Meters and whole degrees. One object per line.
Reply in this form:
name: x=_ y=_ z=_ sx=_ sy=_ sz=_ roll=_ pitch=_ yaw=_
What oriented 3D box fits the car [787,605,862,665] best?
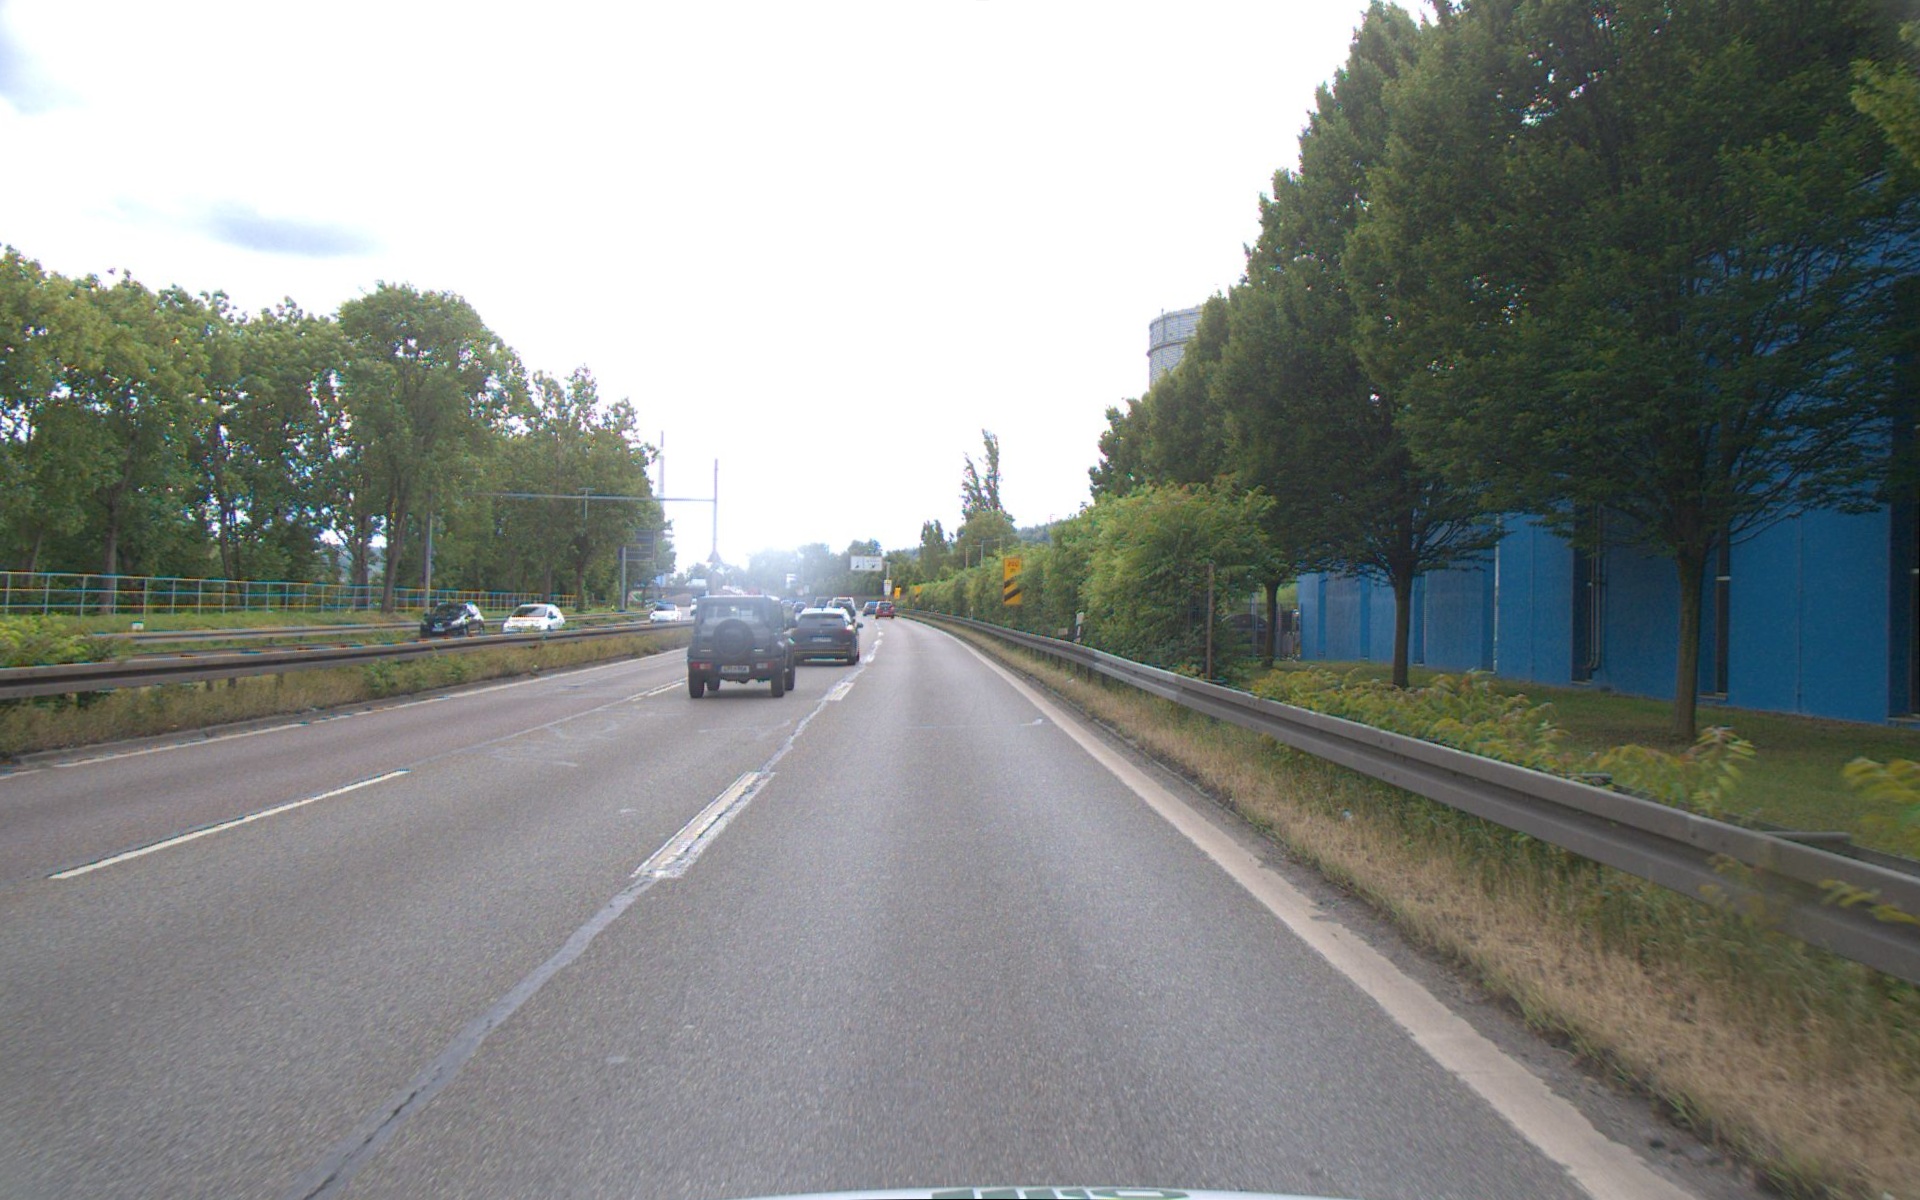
car: x=-3.532 y=0.883 z=43.805 sx=1.808 sy=1.448 sz=4.897 roll=1 pitch=0 yaw=-3

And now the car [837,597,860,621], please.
car: x=-8.437 y=0.706 z=125.370 sx=1.663 sy=1.772 sz=3.998 roll=1 pitch=0 yaw=-2

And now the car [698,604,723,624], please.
car: x=-22.027 y=1.235 z=146.100 sx=1.691 sy=1.806 sz=3.740 roll=0 pitch=0 yaw=-1

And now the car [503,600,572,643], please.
car: x=-17.055 y=0.843 z=66.923 sx=1.663 sy=1.633 sz=4.537 roll=-1 pitch=0 yaw=-1

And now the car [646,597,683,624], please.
car: x=-19.681 y=0.682 z=110.329 sx=1.829 sy=1.704 sz=4.717 roll=0 pitch=0 yaw=-2

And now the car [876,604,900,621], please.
car: x=-6.615 y=1.132 z=151.182 sx=1.936 sy=1.448 sz=4.895 roll=0 pitch=0 yaw=-5

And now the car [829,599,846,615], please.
car: x=-15.343 y=0.864 z=206.831 sx=1.974 sy=1.968 sz=4.895 roll=0 pitch=0 yaw=-5

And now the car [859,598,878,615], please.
car: x=-9.650 y=0.697 z=174.580 sx=1.665 sy=1.772 sz=4.386 roll=0 pitch=0 yaw=-7

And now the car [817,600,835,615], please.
car: x=-18.214 y=1.012 z=224.552 sx=1.976 sy=1.968 sz=4.890 roll=0 pitch=0 yaw=-9

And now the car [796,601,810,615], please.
car: x=-19.930 y=0.980 z=209.916 sx=1.665 sy=1.772 sz=4.386 roll=0 pitch=0 yaw=-7

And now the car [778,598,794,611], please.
car: x=-26.504 y=0.732 z=252.007 sx=1.977 sy=1.968 sz=4.887 roll=0 pitch=0 yaw=-11

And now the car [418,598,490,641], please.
car: x=-20.513 y=0.767 z=67.200 sx=1.691 sy=1.633 sz=4.041 roll=-1 pitch=0 yaw=-1

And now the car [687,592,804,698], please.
car: x=-3.706 y=0.732 z=29.091 sx=1.663 sy=1.715 sz=3.998 roll=0 pitch=0 yaw=-2
